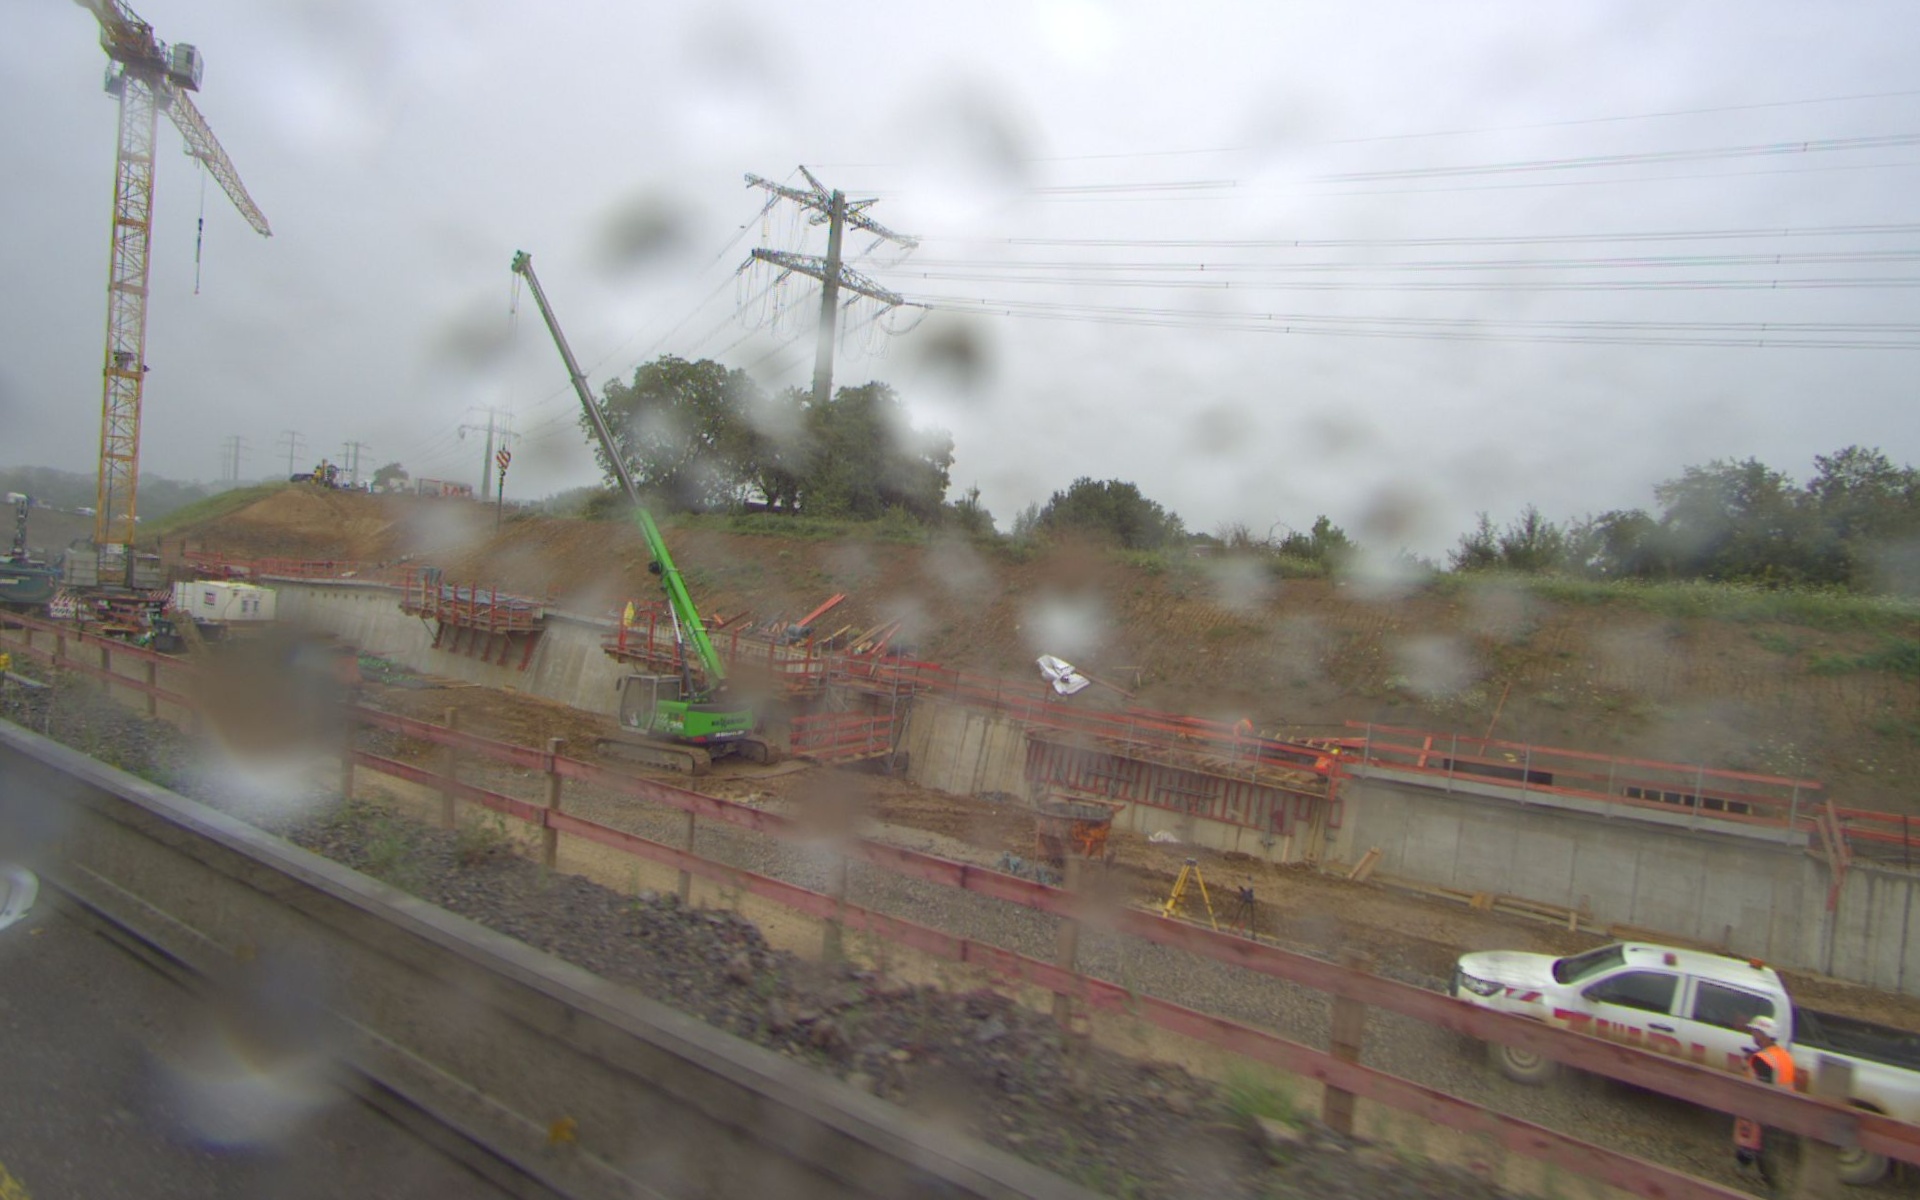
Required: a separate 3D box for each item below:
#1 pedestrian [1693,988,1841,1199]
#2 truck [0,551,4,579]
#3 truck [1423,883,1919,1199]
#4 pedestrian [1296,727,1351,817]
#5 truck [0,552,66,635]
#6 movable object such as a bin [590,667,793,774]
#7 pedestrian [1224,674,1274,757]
[{"bbox_3d":[8.399,5.203,10.523,0.795,1.822,0.936,6,0,20],"label":"pedestrian"},{"bbox_3d":[-87.535,-2.875,89.424,8.942,3.531,2.727,6,-2,42],"label":"truck"},{"bbox_3d":[8.964,5.227,12.252,5.693,1.894,1.763,6,0,34],"label":"truck"},{"bbox_3d":[9.905,4.678,27.388,0.990,2.253,0.918,5,-6,34],"label":"pedestrian"},{"bbox_3d":[-48.494,-0.538,50.902,8.809,3.544,2.702,6,-2,36],"label":"truck"},{"bbox_3d":[-8.354,3.653,31.401,4.779,2.836,3.797,1,-4,32],"label":"movable object such as a bin"},{"bbox_3d":[8.662,3.462,30.140,0.989,2.267,0.919,6,-6,30],"label":"pedestrian"}]
